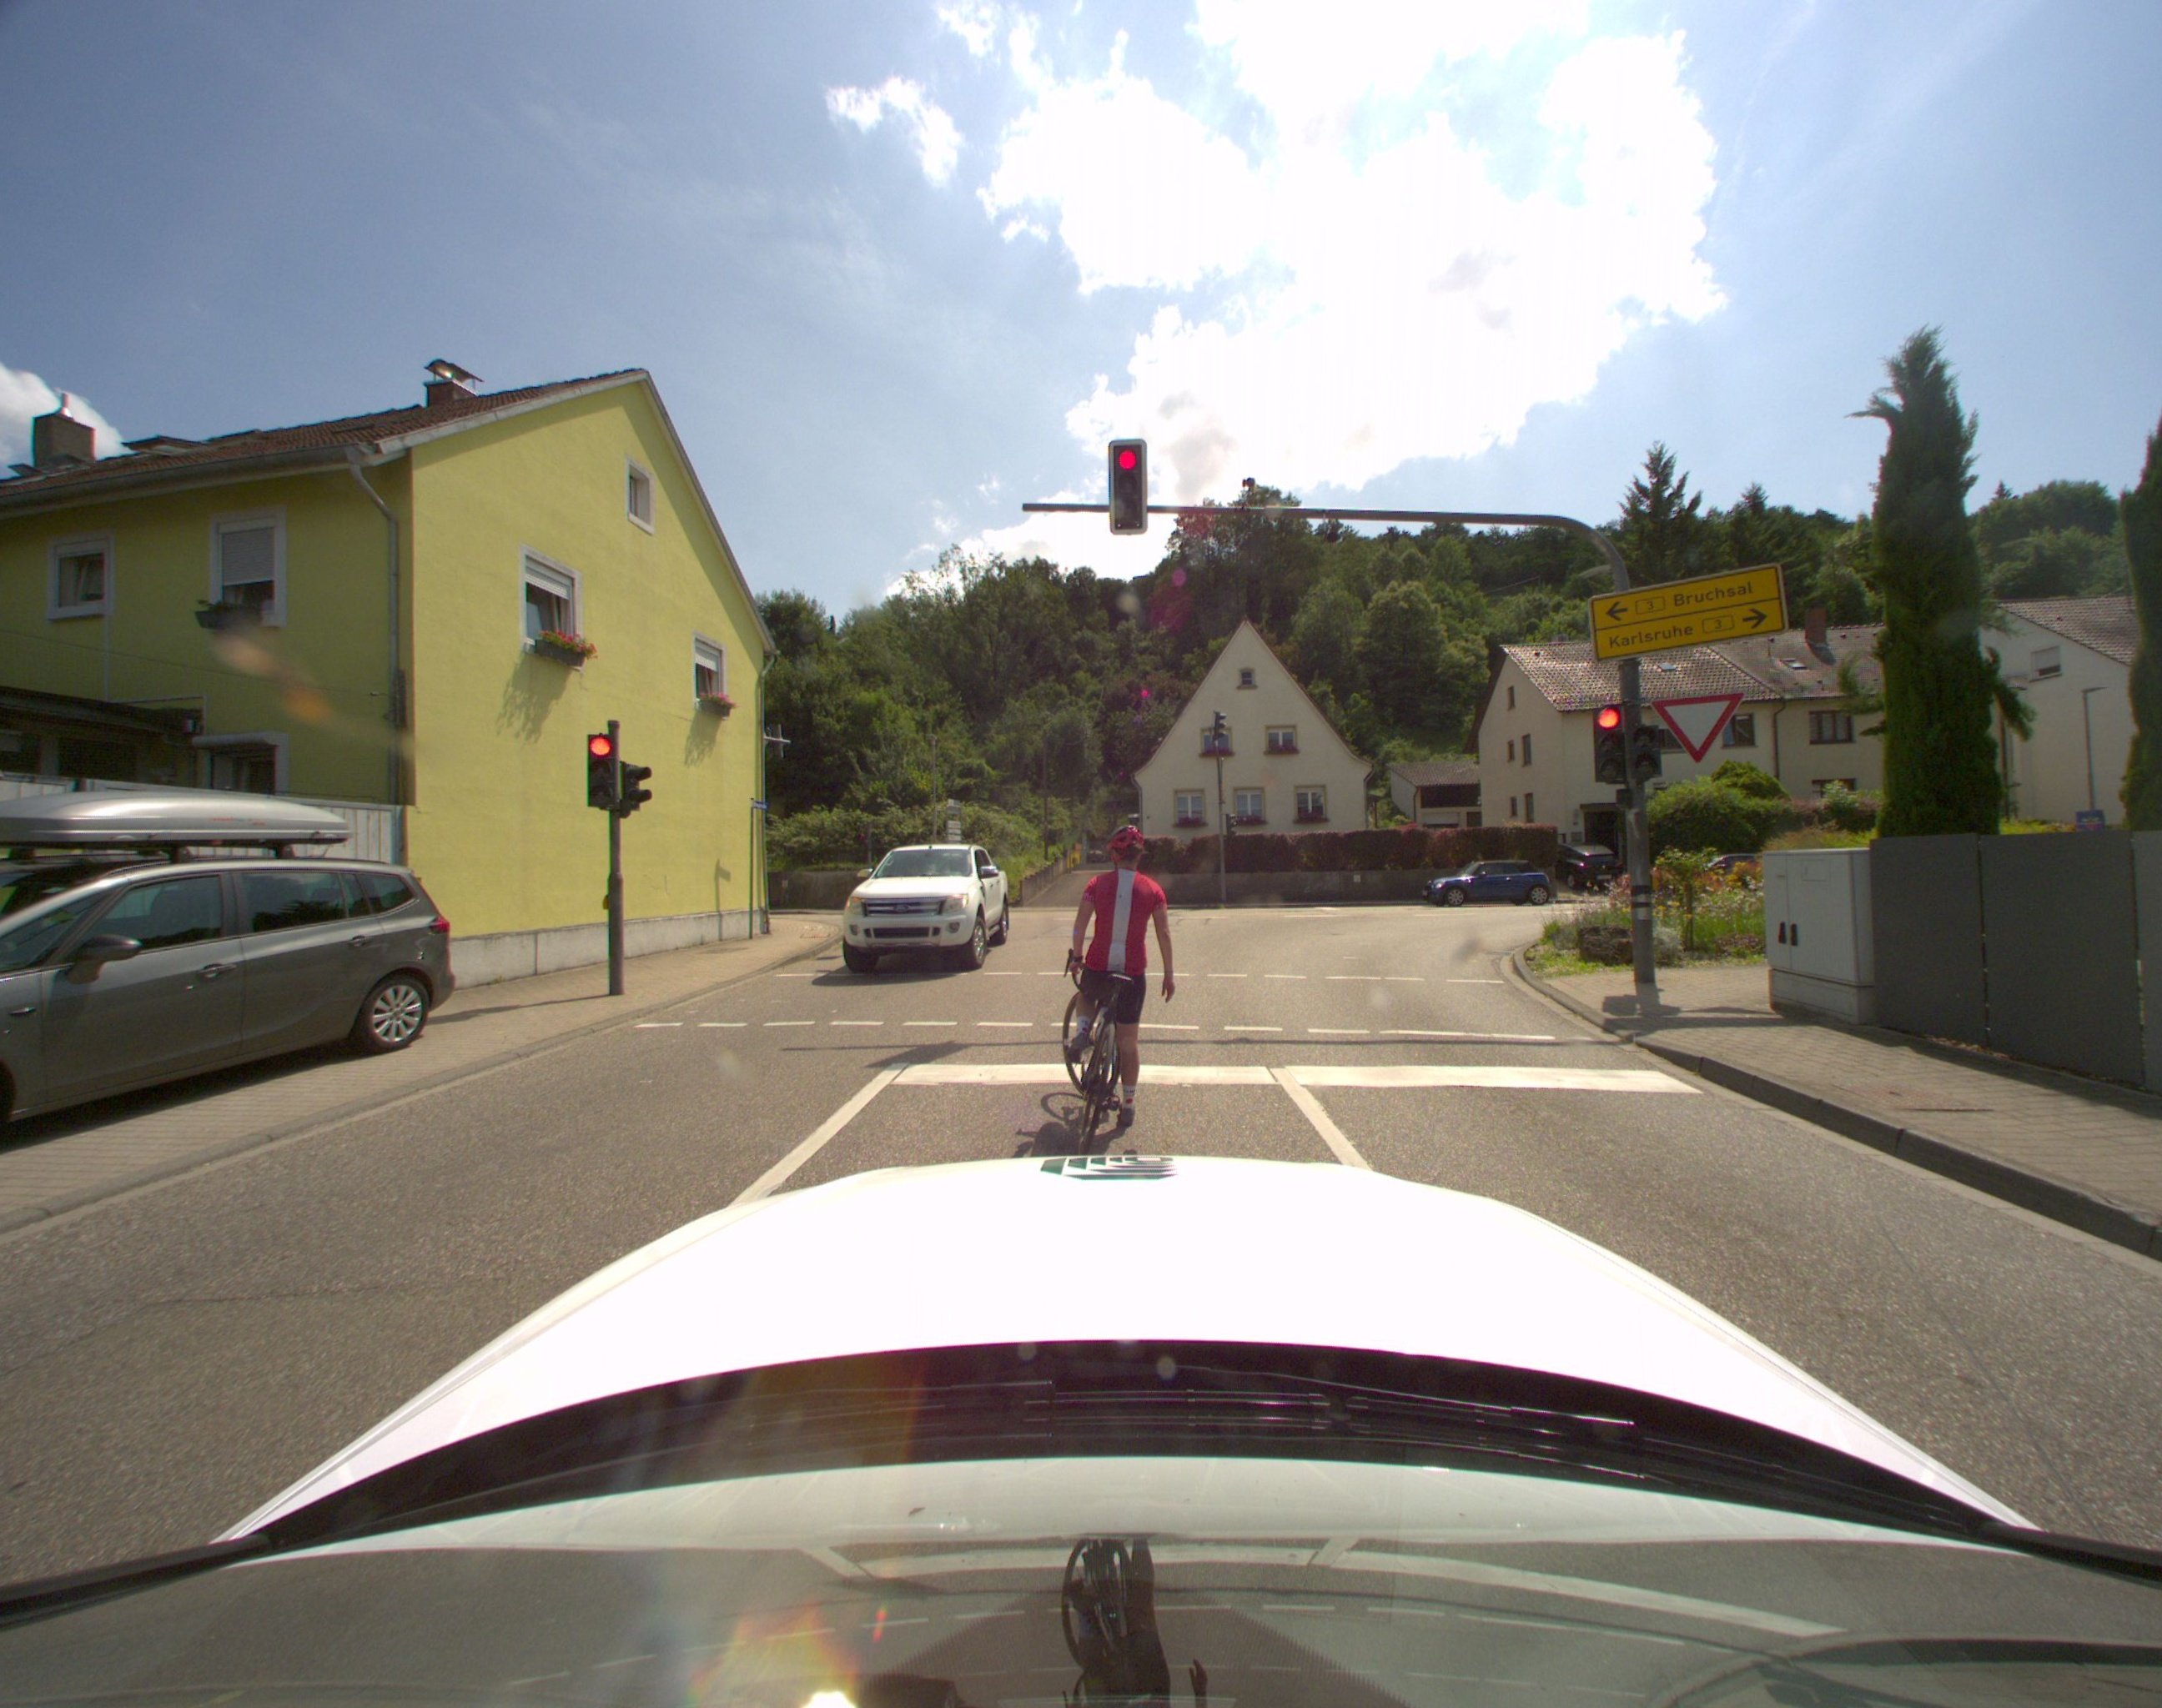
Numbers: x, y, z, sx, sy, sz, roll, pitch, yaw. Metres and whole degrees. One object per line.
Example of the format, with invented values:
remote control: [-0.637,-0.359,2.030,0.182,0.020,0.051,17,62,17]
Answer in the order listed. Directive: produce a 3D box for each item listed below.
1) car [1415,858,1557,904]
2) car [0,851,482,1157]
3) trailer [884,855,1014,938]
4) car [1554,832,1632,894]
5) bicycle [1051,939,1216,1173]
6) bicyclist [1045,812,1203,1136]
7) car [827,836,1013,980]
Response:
car: [12.546,0.877,25.408,3.590,1.363,1.647,-1,-3,6]
car: [-6.730,0.804,5.376,1.986,1.635,4.632,0,0,2]
trailer: [-3.100,0.878,18.263,1.980,1.539,4.414,-2,0,-21]
car: [18.874,0.280,30.201,1.780,1.388,3.709,-1,13,21]
bicycle: [0.221,1.022,4.618,0.629,0.905,1.653,0,0,-8]
bicyclist: [0.209,0.618,4.669,0.760,1.664,0.866,0,-1,-8]
car: [-2.303,0.714,13.189,1.967,1.775,5.311,-3,0,-1]
